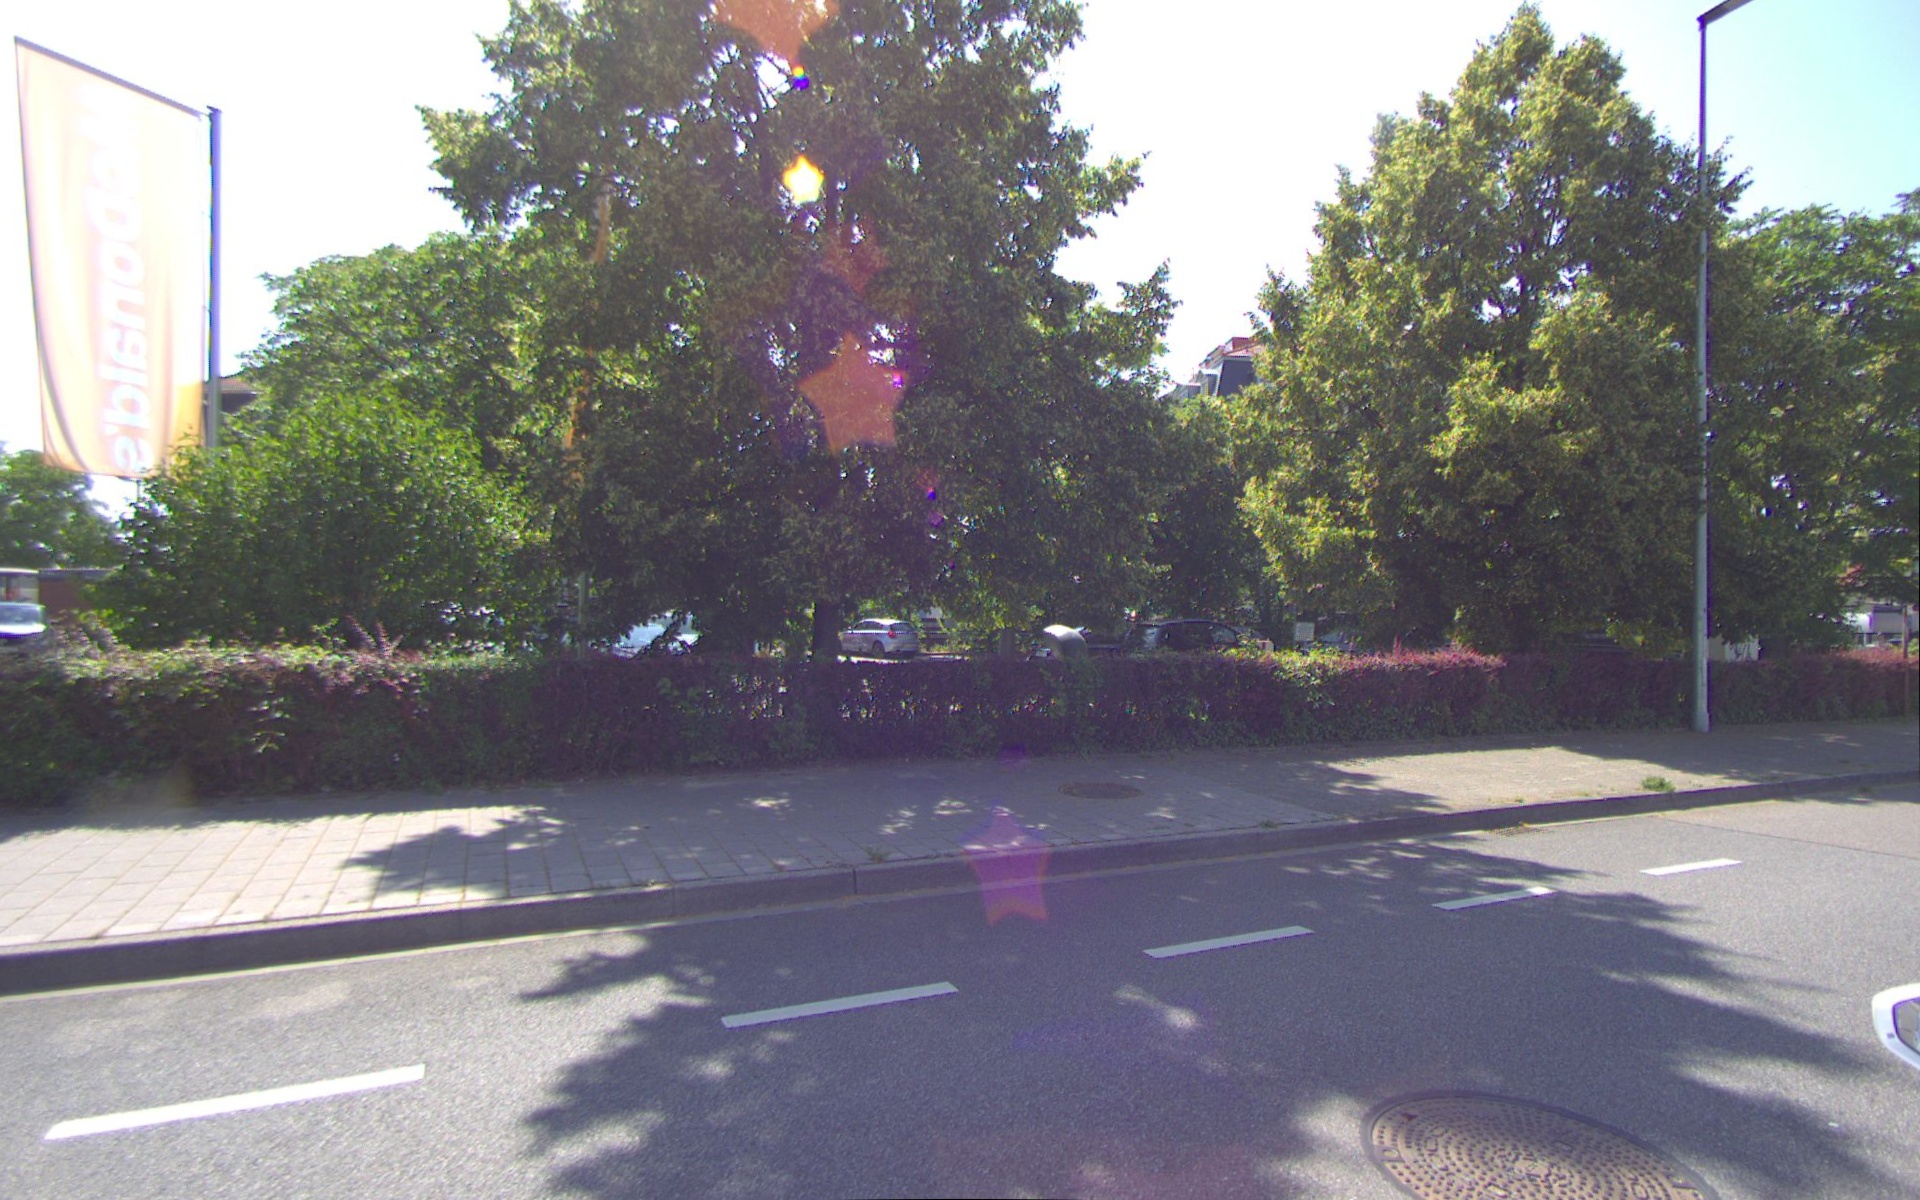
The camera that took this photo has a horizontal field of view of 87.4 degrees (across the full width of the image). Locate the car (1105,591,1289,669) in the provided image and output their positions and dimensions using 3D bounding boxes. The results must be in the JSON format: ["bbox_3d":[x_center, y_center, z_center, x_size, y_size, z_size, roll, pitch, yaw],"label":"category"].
[{"bbox_3d":[5.233,0.668,22.194,3.703,1.624,1.678,1,-1,-23],"label":"car"}]

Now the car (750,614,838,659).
[{"bbox_3d":[-6.411,1.384,38.521,1.781,1.619,3.960,1,-2,-35],"label":"car"}]

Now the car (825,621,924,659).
[{"bbox_3d":[-3.313,1.516,38.576,3.944,1.356,1.576,-1,-2,43],"label":"car"}]

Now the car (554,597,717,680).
[{"bbox_3d":[-6.513,0.734,19.921,1.877,1.479,3.957,2,-2,-37],"label":"car"}]

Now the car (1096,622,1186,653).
[{"bbox_3d":[6.795,1.405,37.893,1.392,1.104,3.359,1,-2,-34],"label":"car"}]

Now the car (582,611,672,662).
[{"bbox_3d":[-10.611,1.153,32.222,1.471,1.546,3.435,0,-1,5],"label":"car"}]

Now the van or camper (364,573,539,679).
[{"bbox_3d":[-9.721,0.489,19.043,1.985,1.763,4.233,2,-2,-41],"label":"van or camper"}]

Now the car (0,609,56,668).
[{"bbox_3d":[-23.730,0.945,25.206,1.385,1.394,3.306,2,-2,-40],"label":"car"}]

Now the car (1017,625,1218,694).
[{"bbox_3d":[3.799,1.390,24.121,4.594,1.530,1.777,1,-1,-26],"label":"car"}]

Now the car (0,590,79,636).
[{"bbox_3d":[-46.086,0.628,48.766,4.710,2.206,2.000,1,-1,-2],"label":"car"}]
